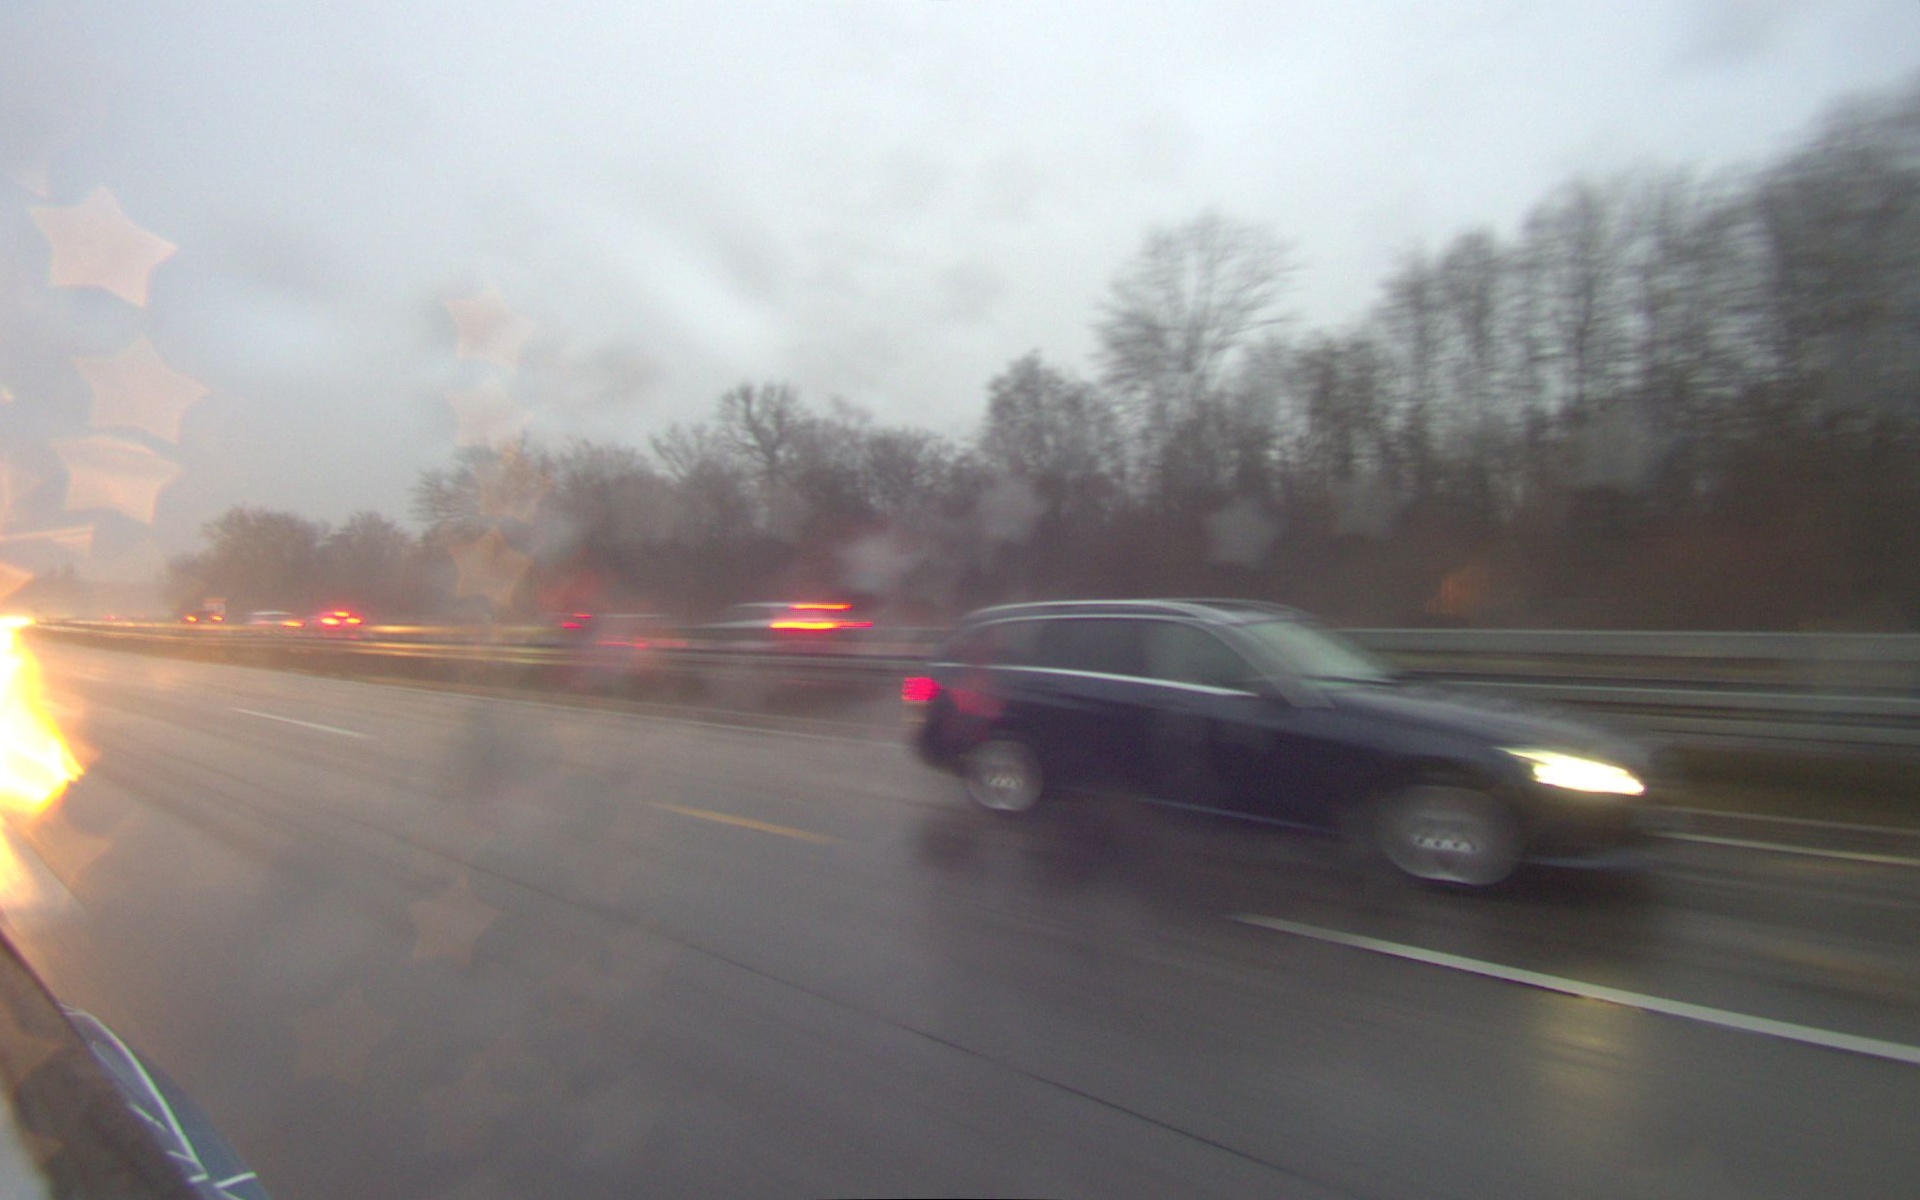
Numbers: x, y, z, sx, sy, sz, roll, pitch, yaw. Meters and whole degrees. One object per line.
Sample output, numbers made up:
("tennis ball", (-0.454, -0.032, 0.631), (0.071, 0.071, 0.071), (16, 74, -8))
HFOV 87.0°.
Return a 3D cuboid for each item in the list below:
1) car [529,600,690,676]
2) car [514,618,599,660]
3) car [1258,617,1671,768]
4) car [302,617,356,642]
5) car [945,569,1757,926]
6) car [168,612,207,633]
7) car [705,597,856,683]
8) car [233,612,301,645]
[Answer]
("car", (-8.779, 0.884, 25.163), (4.379, 1.696, 1.855), (-1, 1, 42))
("car", (-17.178, 1.631, 42.968), (4.203, 1.647, 1.665), (0, -1, 42))
("car", (6.147, 1.004, 12.686), (4.373, 1.531, 1.665), (0, -1, 42))
("car", (-39.841, 1.843, 63.865), (4.781, 1.386, 1.558), (1, 2, 41))
("car", (2.125, 0.690, 6.344), (4.411, 1.479, 1.779), (-2, -3, 41))
("car", (-56.320, 1.626, 73.781), (3.841, 1.386, 1.558), (1, 2, 41))
("car", (-4.865, 0.983, 27.159), (4.000, 2.028, 1.972), (1, 2, 42))
("car", (-33.035, 1.313, 48.192), (3.841, 1.386, 1.760), (1, 2, 41))
